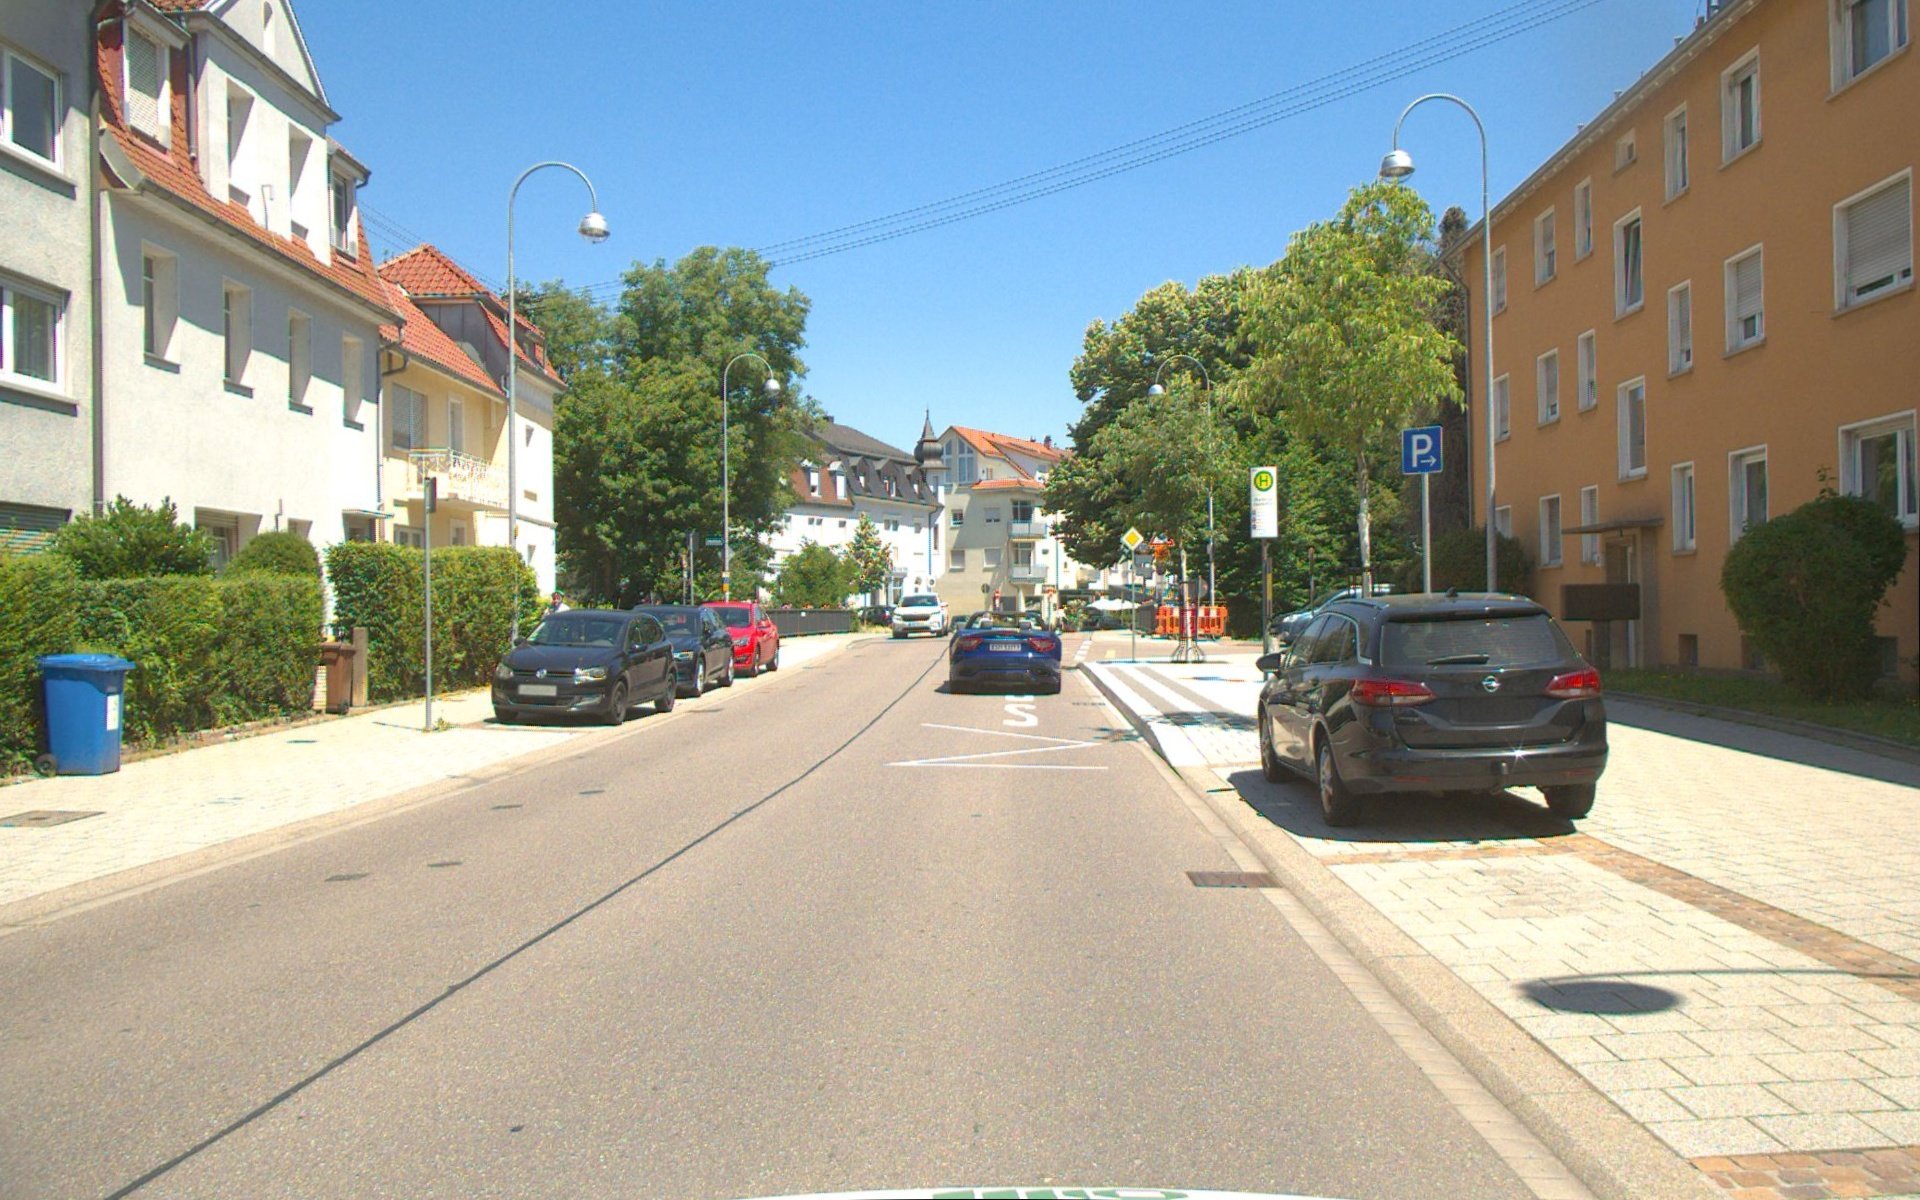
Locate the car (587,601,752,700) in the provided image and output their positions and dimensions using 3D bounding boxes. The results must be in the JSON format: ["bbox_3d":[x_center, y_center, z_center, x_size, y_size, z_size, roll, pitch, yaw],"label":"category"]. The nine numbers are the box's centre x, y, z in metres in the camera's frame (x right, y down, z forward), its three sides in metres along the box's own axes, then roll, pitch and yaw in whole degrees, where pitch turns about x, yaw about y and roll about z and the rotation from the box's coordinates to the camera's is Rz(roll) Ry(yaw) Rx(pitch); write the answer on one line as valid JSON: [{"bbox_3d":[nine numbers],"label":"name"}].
[{"bbox_3d":[-4.982,0.802,29.112,1.825,1.487,5.308,1,1,1],"label":"car"}]

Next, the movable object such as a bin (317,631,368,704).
[{"bbox_3d":[-8.743,0.949,23.438,0.457,1.007,0.614,-1,0,2],"label":"movable object such as a bin"}]

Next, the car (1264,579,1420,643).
[{"bbox_3d":[11.469,0.336,49.741,4.254,1.871,1.747,1,-1,-7],"label":"car"}]

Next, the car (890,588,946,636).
[{"bbox_3d":[-1.485,0.421,60.508,1.839,1.624,4.359,-2,0,0],"label":"car"}]

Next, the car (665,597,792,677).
[{"bbox_3d":[-4.809,0.728,35.031,1.839,1.505,4.739,2,0,2],"label":"car"}]

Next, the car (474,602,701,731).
[{"bbox_3d":[-4.966,0.827,22.675,1.750,1.484,4.200,2,1,6],"label":"car"}]

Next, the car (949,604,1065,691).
[{"bbox_3d":[0.830,0.779,28.635,1.832,1.366,4.597,0,-1,2],"label":"car"}]

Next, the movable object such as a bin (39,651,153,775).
[{"bbox_3d":[-7.845,1.017,15.042,0.659,1.066,0.652,-2,0,1],"label":"movable object such as a bin"}]

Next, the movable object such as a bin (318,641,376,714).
[{"bbox_3d":[-8.173,1.021,22.069,0.484,0.927,0.706,-1,0,2],"label":"movable object such as a bin"}]

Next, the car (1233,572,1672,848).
[{"bbox_3d":[3.319,0.645,12.282,1.796,1.530,5.064,-3,0,1],"label":"car"}]

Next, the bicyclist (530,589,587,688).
[{"bbox_3d":[-7.037,0.663,29.019,0.766,1.688,0.835,-1,0,0],"label":"bicyclist"}]
